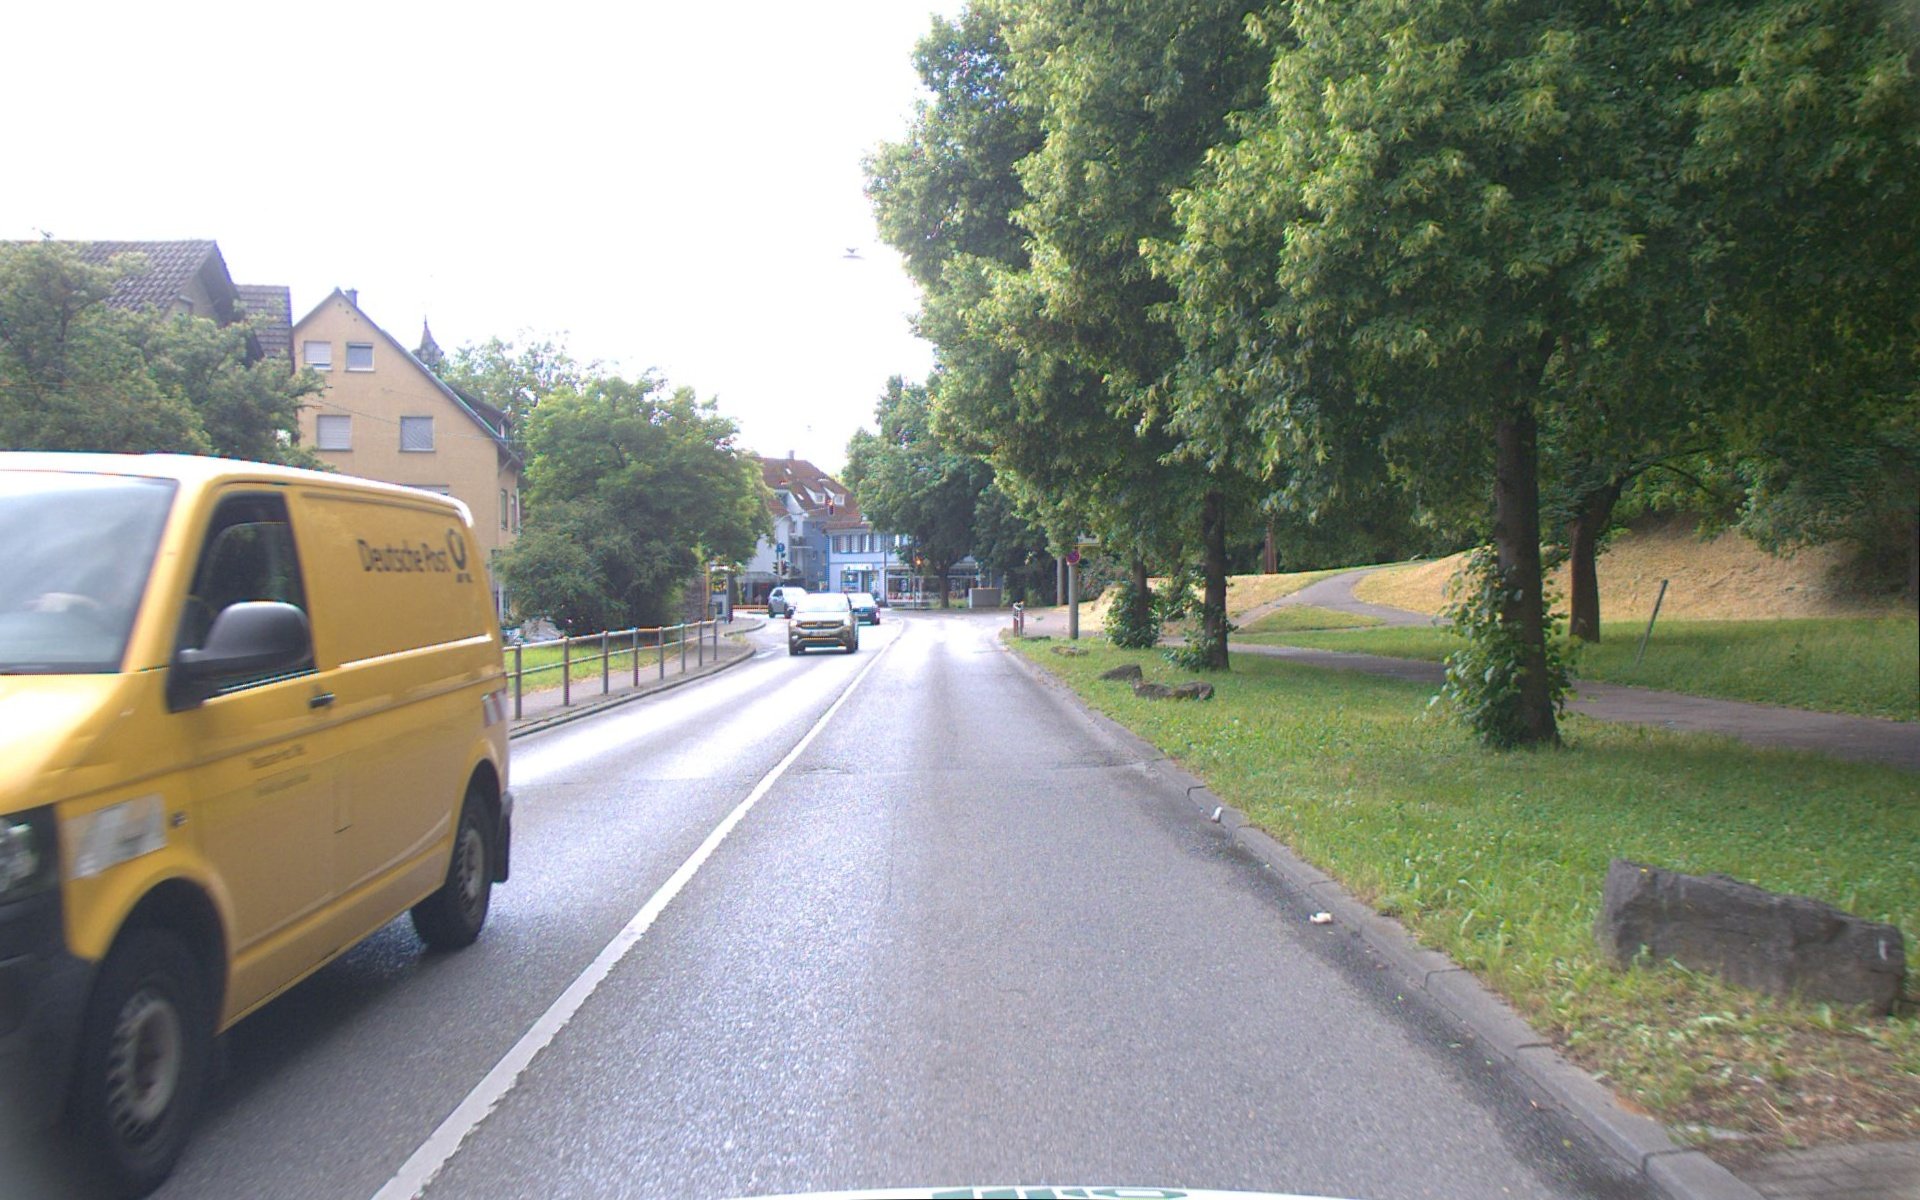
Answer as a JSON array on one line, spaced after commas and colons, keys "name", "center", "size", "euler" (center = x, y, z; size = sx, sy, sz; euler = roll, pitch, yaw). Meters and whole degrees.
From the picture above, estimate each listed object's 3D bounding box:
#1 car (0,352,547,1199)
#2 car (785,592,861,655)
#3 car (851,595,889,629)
[{"name": "car", "center": [-2.886, 0.485, 5.650], "size": [1.808, 1.964, 4.768], "euler": [0, 0, -1]}, {"name": "car", "center": [-3.625, 0.590, 44.312], "size": [1.670, 1.538, 3.999], "euler": [-2, 0, -1]}, {"name": "car", "center": [-4.278, 0.559, 78.852], "size": [1.682, 1.494, 4.097], "euler": [-2, 1, -2]}]
